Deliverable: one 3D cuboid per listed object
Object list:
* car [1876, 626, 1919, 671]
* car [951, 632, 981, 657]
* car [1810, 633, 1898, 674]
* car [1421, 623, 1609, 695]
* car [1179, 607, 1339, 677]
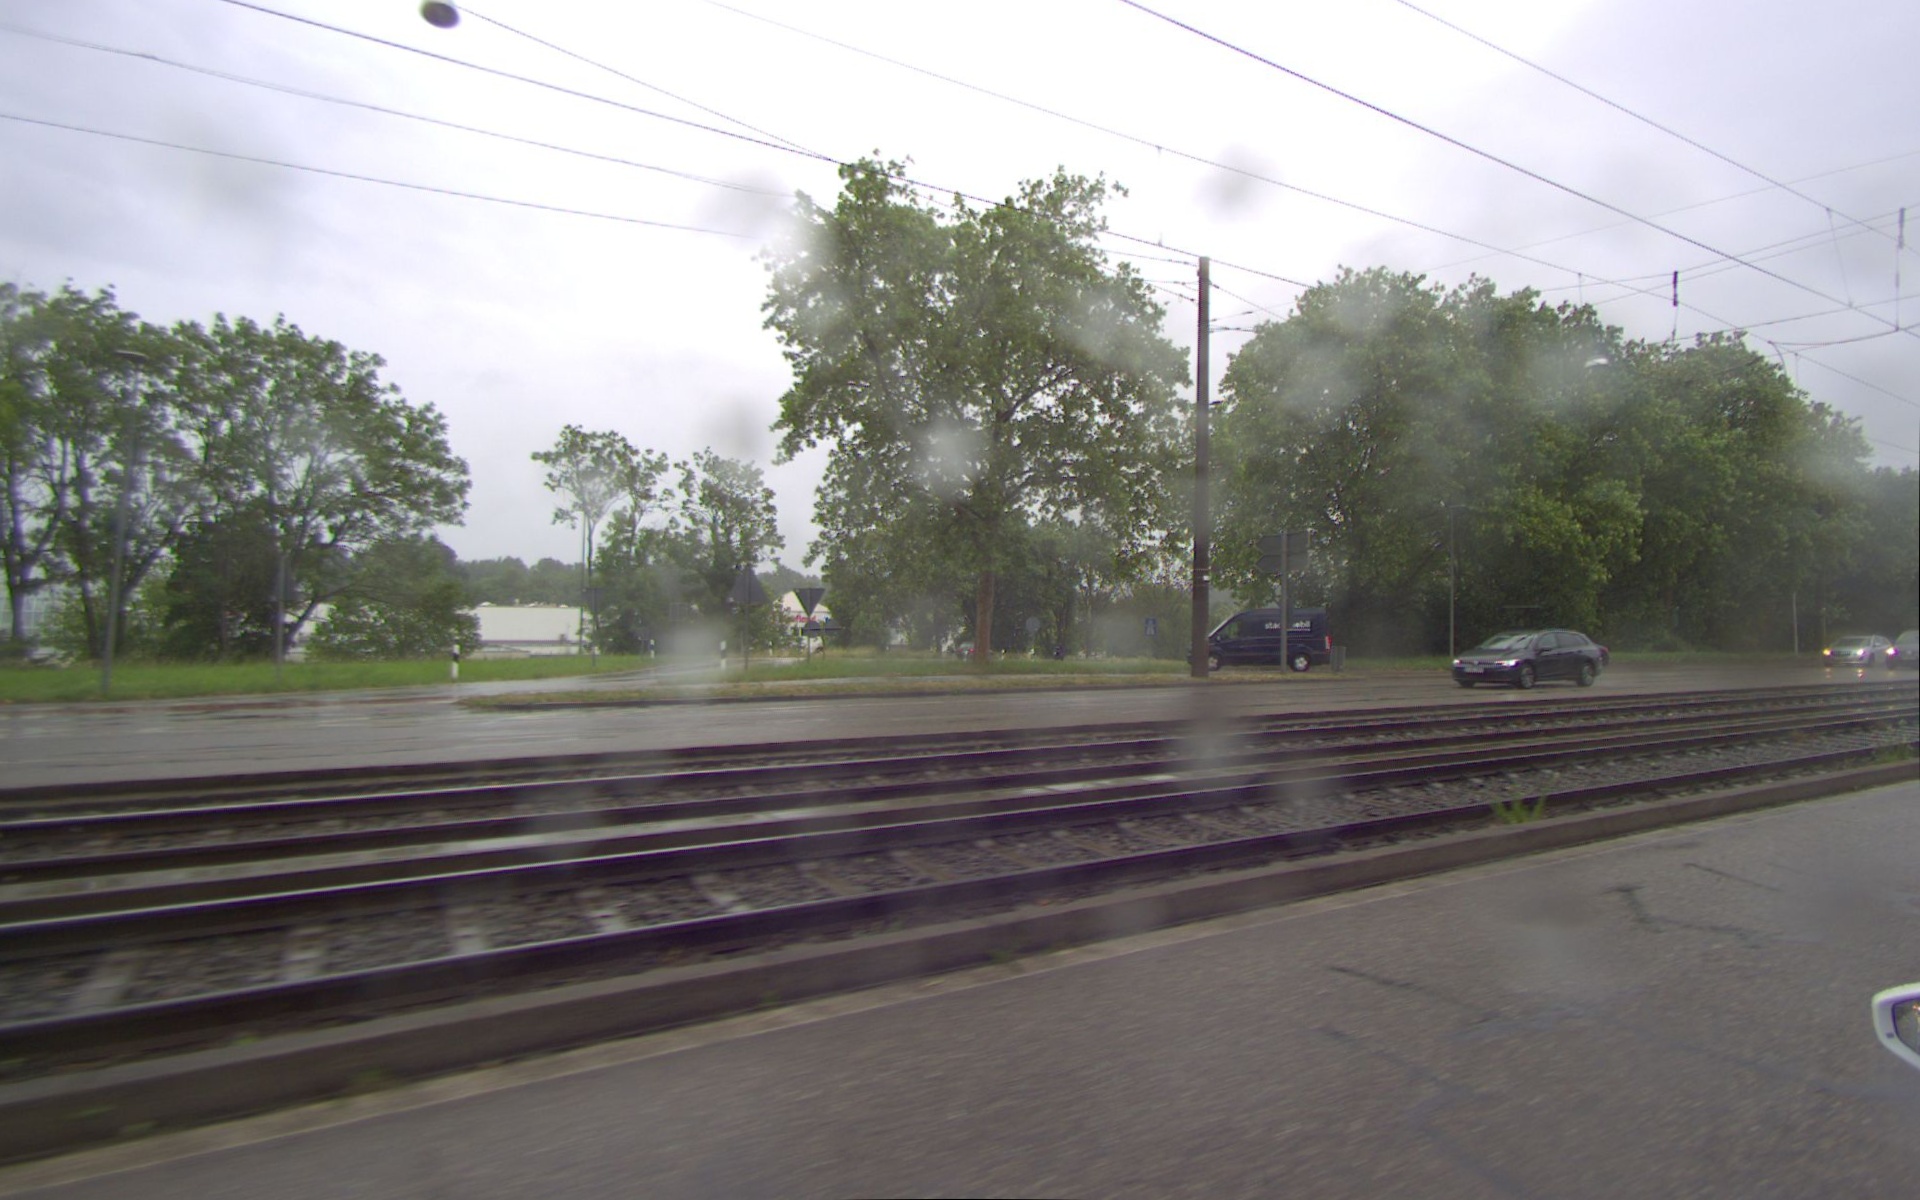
[{"bbox_3d":[41.640,2.024,43.126,6.035,1.729,1.810,0,1,-32],"label":"car"},{"bbox_3d":[0.481,3.346,76.844,1.628,1.684,3.619,1,1,12],"label":"car"},{"bbox_3d":[43.375,2.546,48.712,4.963,1.729,1.810,0,1,-31],"label":"car"},{"bbox_3d":[14.202,1.429,25.626,5.250,1.570,1.782,0,1,-31],"label":"car"},{"bbox_3d":[11.433,1.556,38.781,5.730,2.458,2.340,1,1,14],"label":"car"}]
